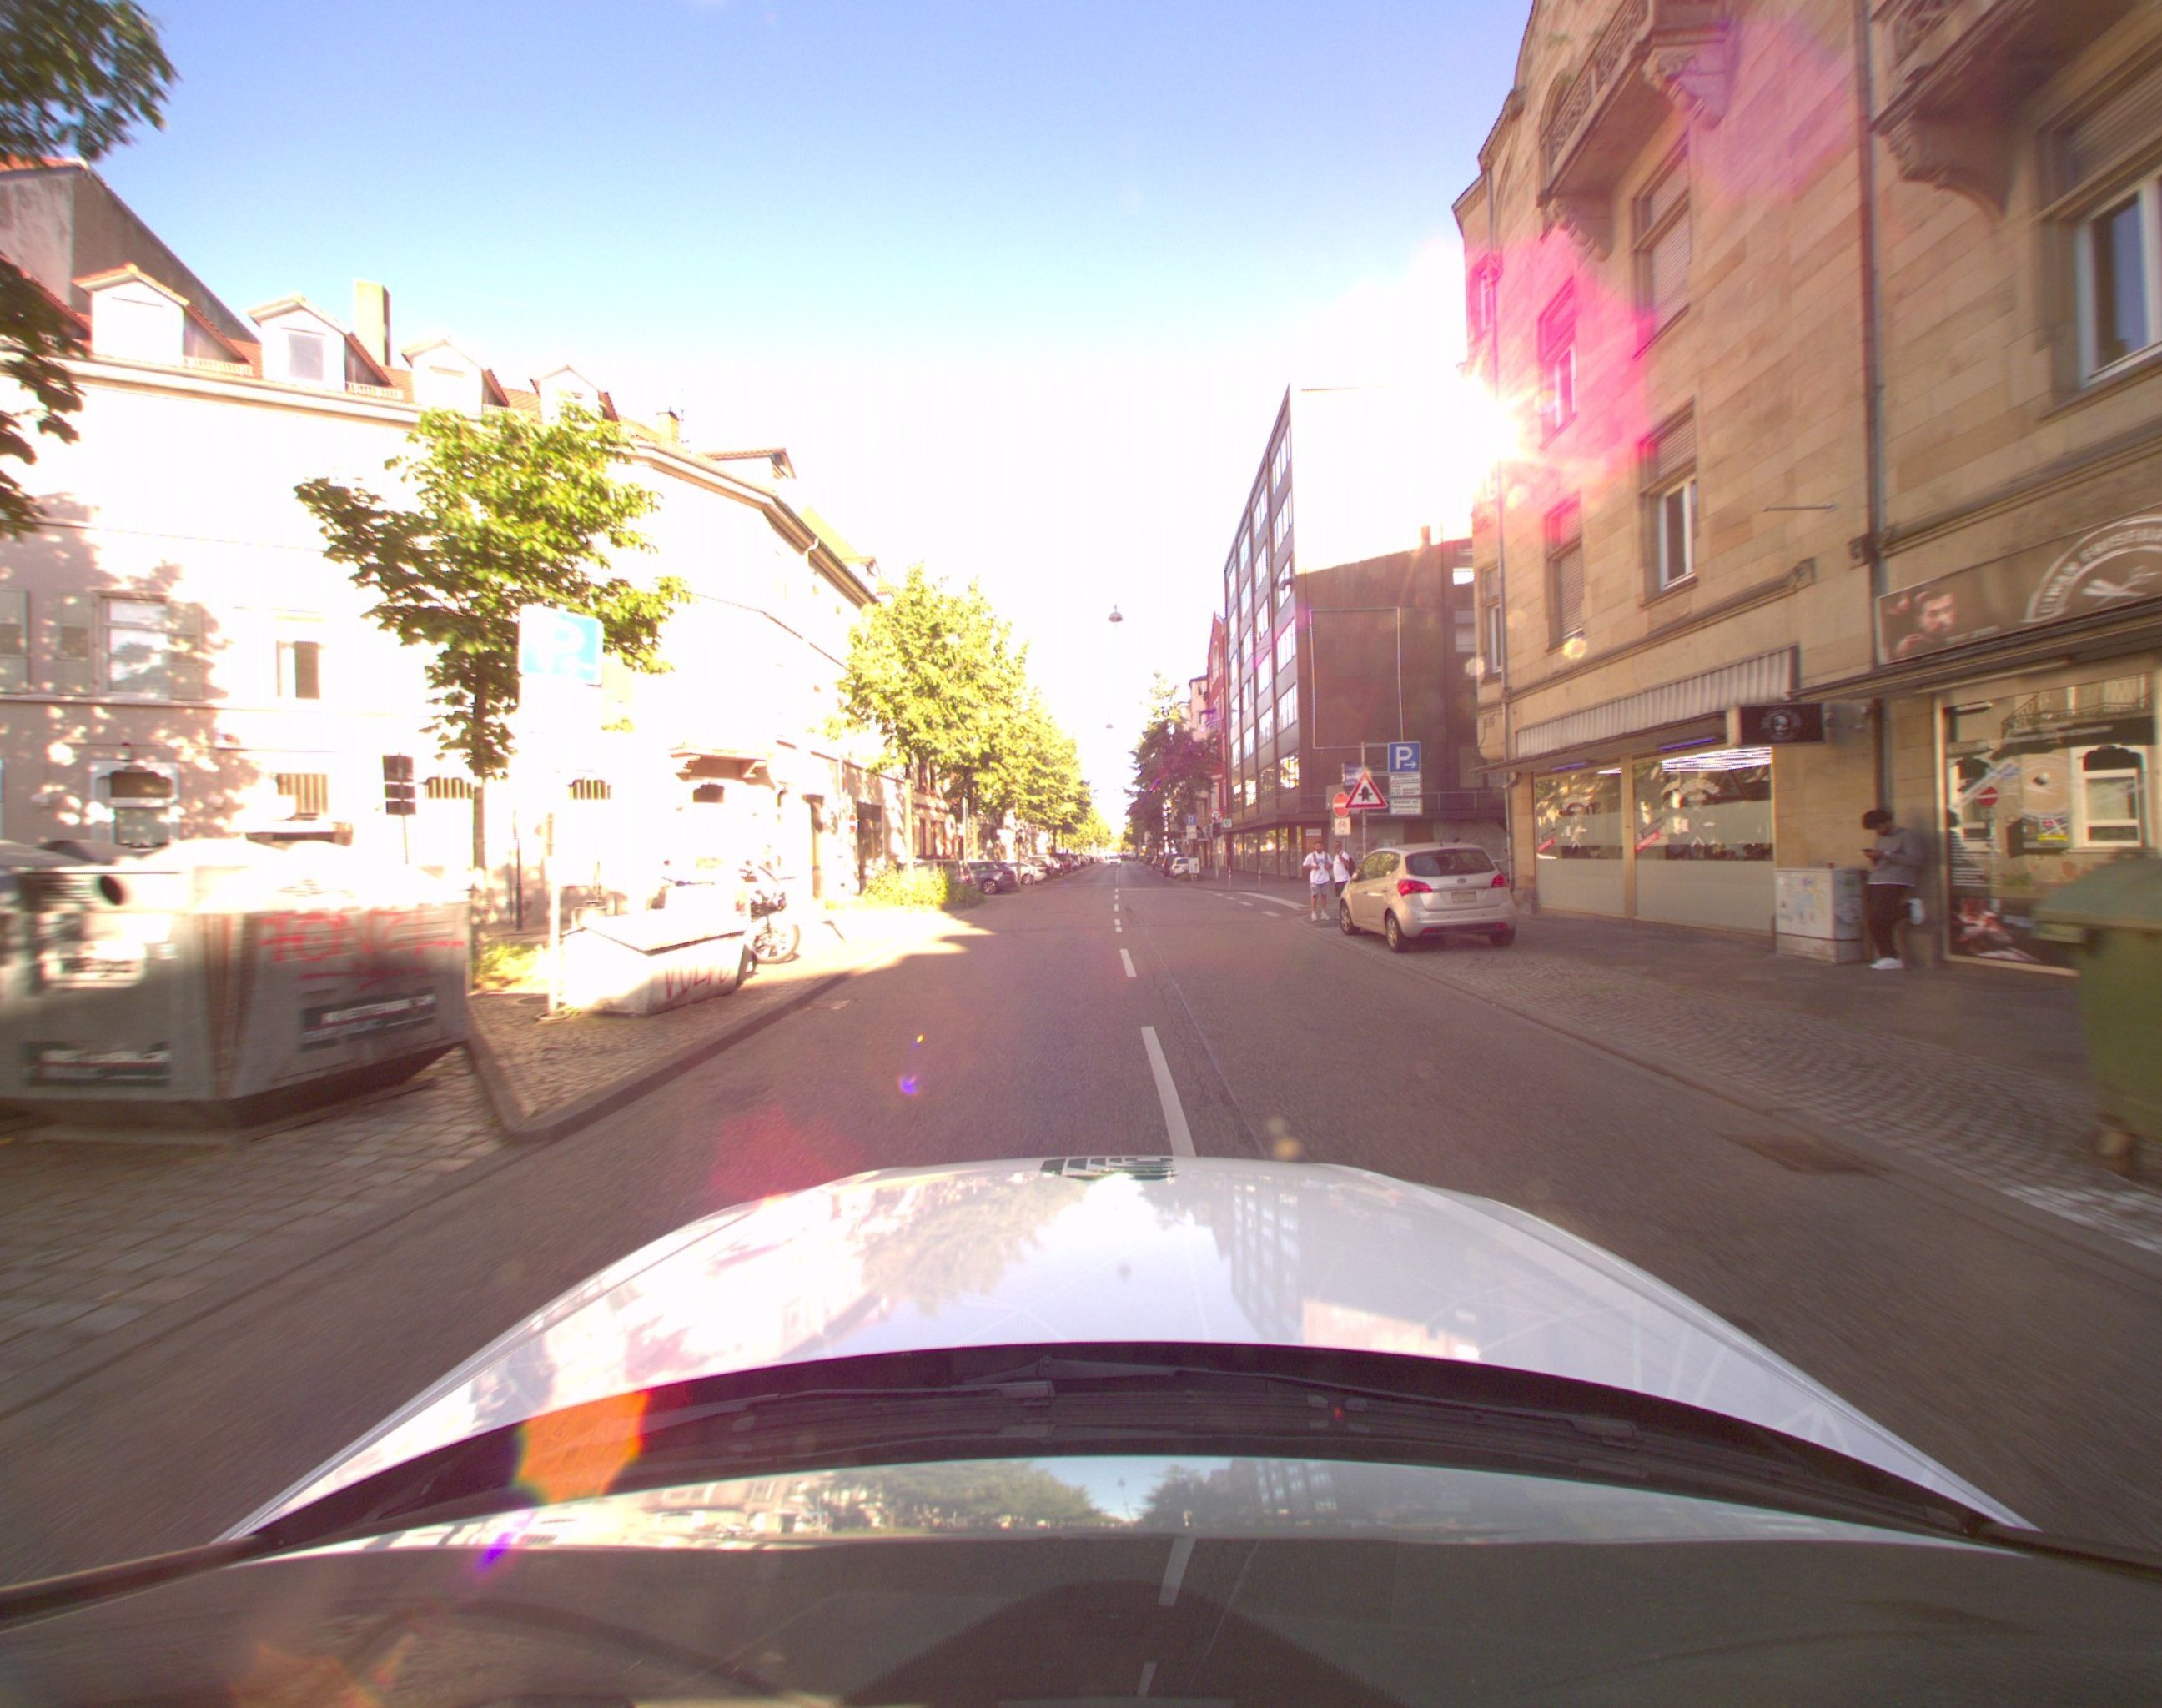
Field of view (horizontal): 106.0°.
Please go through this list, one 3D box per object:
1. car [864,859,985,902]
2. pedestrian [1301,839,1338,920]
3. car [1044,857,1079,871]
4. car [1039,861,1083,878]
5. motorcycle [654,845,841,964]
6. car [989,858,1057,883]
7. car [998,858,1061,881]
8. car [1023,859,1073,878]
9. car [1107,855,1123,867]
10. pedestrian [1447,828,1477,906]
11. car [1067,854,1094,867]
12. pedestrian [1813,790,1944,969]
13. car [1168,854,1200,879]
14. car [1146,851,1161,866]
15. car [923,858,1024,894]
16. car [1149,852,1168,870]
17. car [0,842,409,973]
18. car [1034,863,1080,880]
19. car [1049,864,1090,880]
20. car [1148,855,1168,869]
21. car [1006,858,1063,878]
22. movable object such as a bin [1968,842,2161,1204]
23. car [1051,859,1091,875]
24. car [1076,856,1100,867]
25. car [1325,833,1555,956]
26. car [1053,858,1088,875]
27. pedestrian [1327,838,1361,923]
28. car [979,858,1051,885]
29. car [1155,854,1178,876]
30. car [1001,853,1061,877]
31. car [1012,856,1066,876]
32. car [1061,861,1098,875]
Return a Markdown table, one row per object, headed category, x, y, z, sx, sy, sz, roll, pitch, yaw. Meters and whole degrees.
| category | x | y | z | sx | sy | sz | roll | pitch | yaw |
| --- | --- | --- | --- | --- | --- | --- | --- | --- | --- |
| car | -5.662 | 0.949 | 29.834 | 3.970 | 1.508 | 2.002 | 0 | -1 | 3 |
| pedestrian | 5.268 | 0.557 | 18.002 | 0.608 | 1.735 | 0.638 | -1 | -2 | 36 |
| car | -2.338 | 1.224 | 99.289 | 3.966 | 1.508 | 2.004 | 1 | -1 | 7 |
| car | -1.952 | 1.514 | 80.211 | 3.967 | 1.508 | 2.003 | 1 | -1 | 6 |
| motorcycle | -4.851 | 0.716 | 11.846 | 2.451 | 1.604 | 1.005 | -2 | -1 | 21 |
| car | -3.553 | 1.006 | 50.307 | 3.970 | 1.508 | 2.002 | 0 | -1 | 3 |
| car | -3.463 | 1.049 | 55.343 | 3.970 | 1.508 | 2.002 | 0 | -1 | 3 |
| car | -2.742 | 1.216 | 68.645 | 3.971 | 1.508 | 2.001 | 0 | -1 | 2 |
| car | 4.427 | 0.914 | 106.759 | 1.985 | 1.556 | 4.003 | 0 | -1 | 3 |
| pedestrian | 9.284 | 0.313 | 19.872 | 0.640 | 1.871 | 0.630 | 0 | -2 | 25 |
| car | -0.112 | 1.091 | 130.516 | 3.960 | 2.014 | 2.007 | -1 | -1 | 12 |
| pedestrian | 8.391 | 0.267 | 8.594 | 0.605 | 1.788 | 0.683 | -2 | -2 | 1 |
| car | 6.934 | 0.883 | 55.226 | 1.984 | 1.618 | 4.015 | 0 | -1 | 5 |
| car | 10.213 | 0.650 | 114.894 | 1.986 | 2.014 | 4.002 | 0 | 0 | 2 |
| car | -4.596 | 0.934 | 35.264 | 3.970 | 1.508 | 2.002 | 0 | -1 | 3 |
| car | 9.338 | 0.842 | 98.078 | 1.986 | 2.013 | 4.002 | -2 | 0 | 2 |
| car | -14.161 | 0.766 | 12.658 | 5.288 | 1.800 | 2.146 | 1 | -1 | -24 |
| car | -2.136 | 1.547 | 73.480 | 3.971 | 1.508 | 2.001 | 0 | -1 | 2 |
| car | -1.196 | 1.811 | 83.667 | 3.967 | 1.508 | 2.003 | 1 | -1 | 6 |
| car | 8.244 | 0.856 | 87.406 | 1.986 | 1.453 | 4.002 | 0 | 0 | 2 |
| car | -3.378 | 1.030 | 60.145 | 3.970 | 1.508 | 2.002 | 0 | -1 | 3 |
| movable object such as a bin | 4.995 | 0.698 | 3.343 | 1.067 | 1.457 | 1.496 | -4 | 0 | 7 |
| car | -0.993 | 1.361 | 86.017 | 3.967 | 1.508 | 2.003 | 1 | -1 | 6 |
| car | 1.272 | 1.378 | 150.546 | 3.960 | 2.014 | 2.007 | -1 | -1 | 12 |
| car | 5.637 | 0.602 | 13.570 | 1.891 | 1.675 | 4.827 | 0 | -1 | 2 |
| car | -1.296 | 1.580 | 102.465 | 3.960 | 2.014 | 2.007 | -1 | -1 | 12 |
| pedestrian | 5.672 | 0.569 | 17.570 | 0.507 | 1.780 | 0.616 | -1 | -2 | 40 |
| car | -3.839 | 1.032 | 48.118 | 3.970 | 1.508 | 2.002 | 0 | -1 | 3 |
| car | 8.320 | 1.086 | 79.124 | 1.986 | 2.014 | 4.002 | 0 | -1 | 2 |
| car | -3.501 | 0.794 | 57.838 | 3.970 | 1.674 | 2.091 | 0 | -1 | 3 |
| car | -3.280 | 0.952 | 64.041 | 3.970 | 1.508 | 1.896 | 0 | -1 | 3 |
| car | -0.182 | 1.574 | 93.467 | 3.967 | 1.508 | 2.003 | 1 | -1 | 6 |
